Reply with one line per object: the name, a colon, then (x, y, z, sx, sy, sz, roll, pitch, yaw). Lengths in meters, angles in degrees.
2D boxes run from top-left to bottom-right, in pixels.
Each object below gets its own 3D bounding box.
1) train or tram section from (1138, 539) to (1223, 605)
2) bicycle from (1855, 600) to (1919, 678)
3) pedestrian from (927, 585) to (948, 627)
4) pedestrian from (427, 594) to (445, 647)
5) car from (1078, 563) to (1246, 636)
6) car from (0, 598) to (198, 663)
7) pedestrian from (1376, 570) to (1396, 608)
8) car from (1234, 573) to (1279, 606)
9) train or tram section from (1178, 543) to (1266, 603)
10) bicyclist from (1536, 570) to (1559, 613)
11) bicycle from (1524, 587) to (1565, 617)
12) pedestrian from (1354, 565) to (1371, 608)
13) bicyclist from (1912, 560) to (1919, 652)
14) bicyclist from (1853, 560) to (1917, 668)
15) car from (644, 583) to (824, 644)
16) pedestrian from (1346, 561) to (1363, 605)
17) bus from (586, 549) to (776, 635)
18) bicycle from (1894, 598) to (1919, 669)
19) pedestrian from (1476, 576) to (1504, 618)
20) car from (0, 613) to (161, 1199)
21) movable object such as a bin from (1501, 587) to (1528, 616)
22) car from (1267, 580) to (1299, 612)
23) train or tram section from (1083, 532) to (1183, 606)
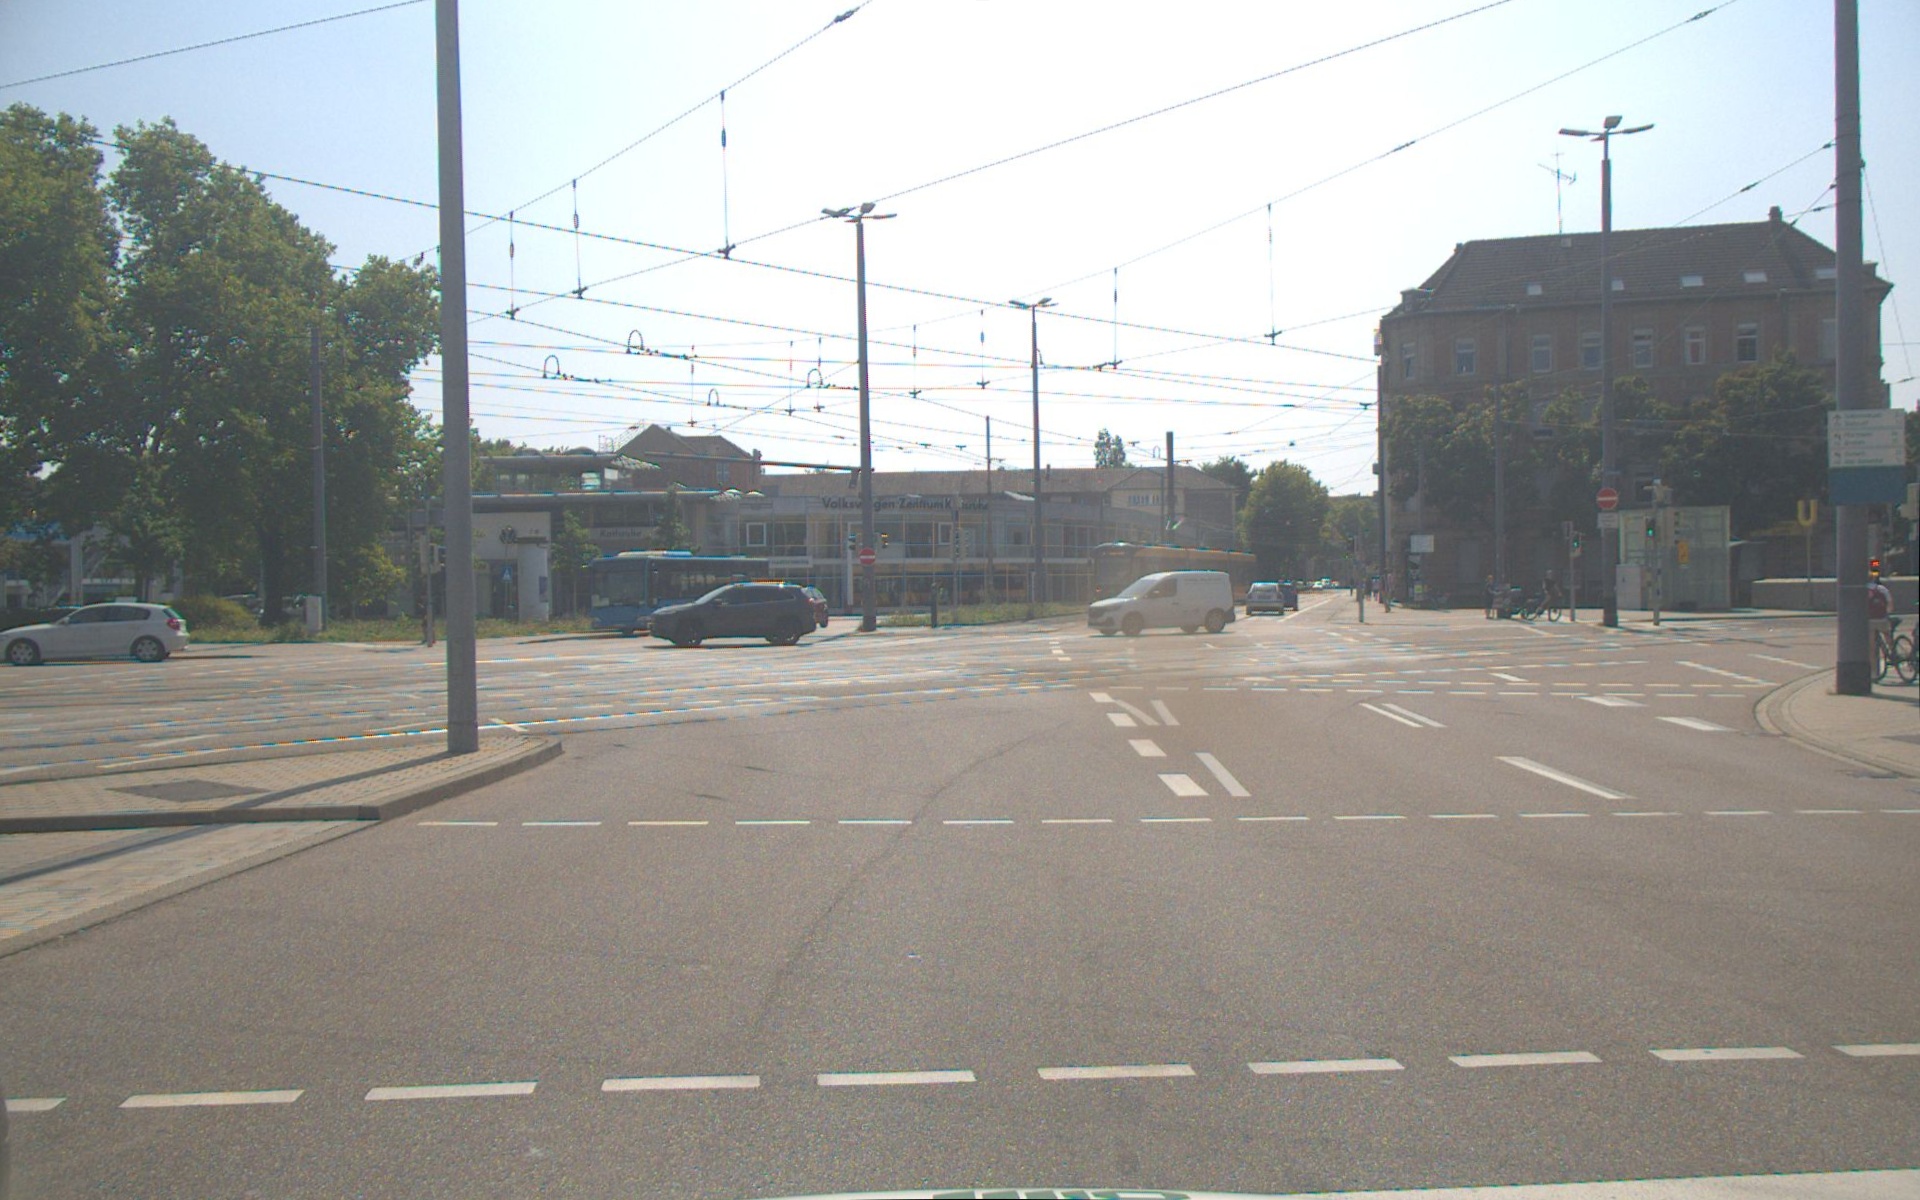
train or tram section: (12.825, -1.559, 95.407, 2.535, 3.578, 9.658, -1, 0, 22)
bicycle: (13.499, 0.542, 23.914, 0.525, 1.073, 1.655, -1, 0, 12)
pedestrian: (-0.801, 0.206, 58.705, 0.666, 1.468, 0.364, -1, 0, -18)
pedestrian: (-17.213, 0.661, 54.342, 0.544, 1.713, 0.452, -1, 0, -19)
car: (5.979, -0.025, 49.015, 4.540, 2.049, 1.989, -1, 0, -19)
car: (-20.654, 0.701, 39.657, 4.126, 1.440, 1.765, -1, 0, -20)
pedestrian: (18.605, -0.474, 72.212, 0.686, 1.631, 0.572, -1, 0, -8)
car: (13.719, -0.495, 76.707, 1.732, 1.440, 4.192, -1, 0, 5)
train or tram section: (16.903, -1.666, 105.918, 2.536, 3.578, 12.970, -1, 0, 23)
bicyclist: (21.463, -0.298, 60.402, 0.603, 1.555, 0.517, -1, 0, -25)
bicycle: (21.390, 0.067, 60.576, 0.462, 1.073, 1.643, -1, 0, -21)
pedestrian: (29.040, -0.943, 119.310, 0.963, 3.070, 0.975, -1, 0, 5)
bicyclist: (14.966, 0.091, 25.210, 0.519, 1.417, 0.894, -1, 0, 12)
bicyclist: (13.506, 0.196, 24.156, 0.614, 1.544, 0.712, -1, 0, 12)
car: (-6.156, 0.342, 44.986, 4.545, 1.531, 1.987, -1, 0, -21)
pedestrian: (27.962, -1.185, 117.165, 0.963, 3.070, 0.975, -1, 0, 5)
bus: (-10.889, -0.341, 66.451, 2.508, 3.136, 12.031, -1, 0, 16)
bicycle: (15.046, 0.521, 25.594, 0.525, 1.073, 1.655, -1, 0, 12)
pedestrian: (20.120, -0.112, 62.779, 0.834, 1.572, 0.528, -1, 0, -9)
car: (-2.519, 0.735, 1.344, 1.728, 1.412, 3.783, 1, 0, 3)
movable object such as a bin: (20.973, 0.056, 62.588, 0.798, 1.096, 0.510, -1, 0, -11)
car: (16.993, -0.233, 87.005, 1.601, 1.646, 4.004, -1, 0, 11)
train or tram section: (9.150, -1.566, 85.880, 2.535, 3.578, 10.901, -1, 0, 20)
